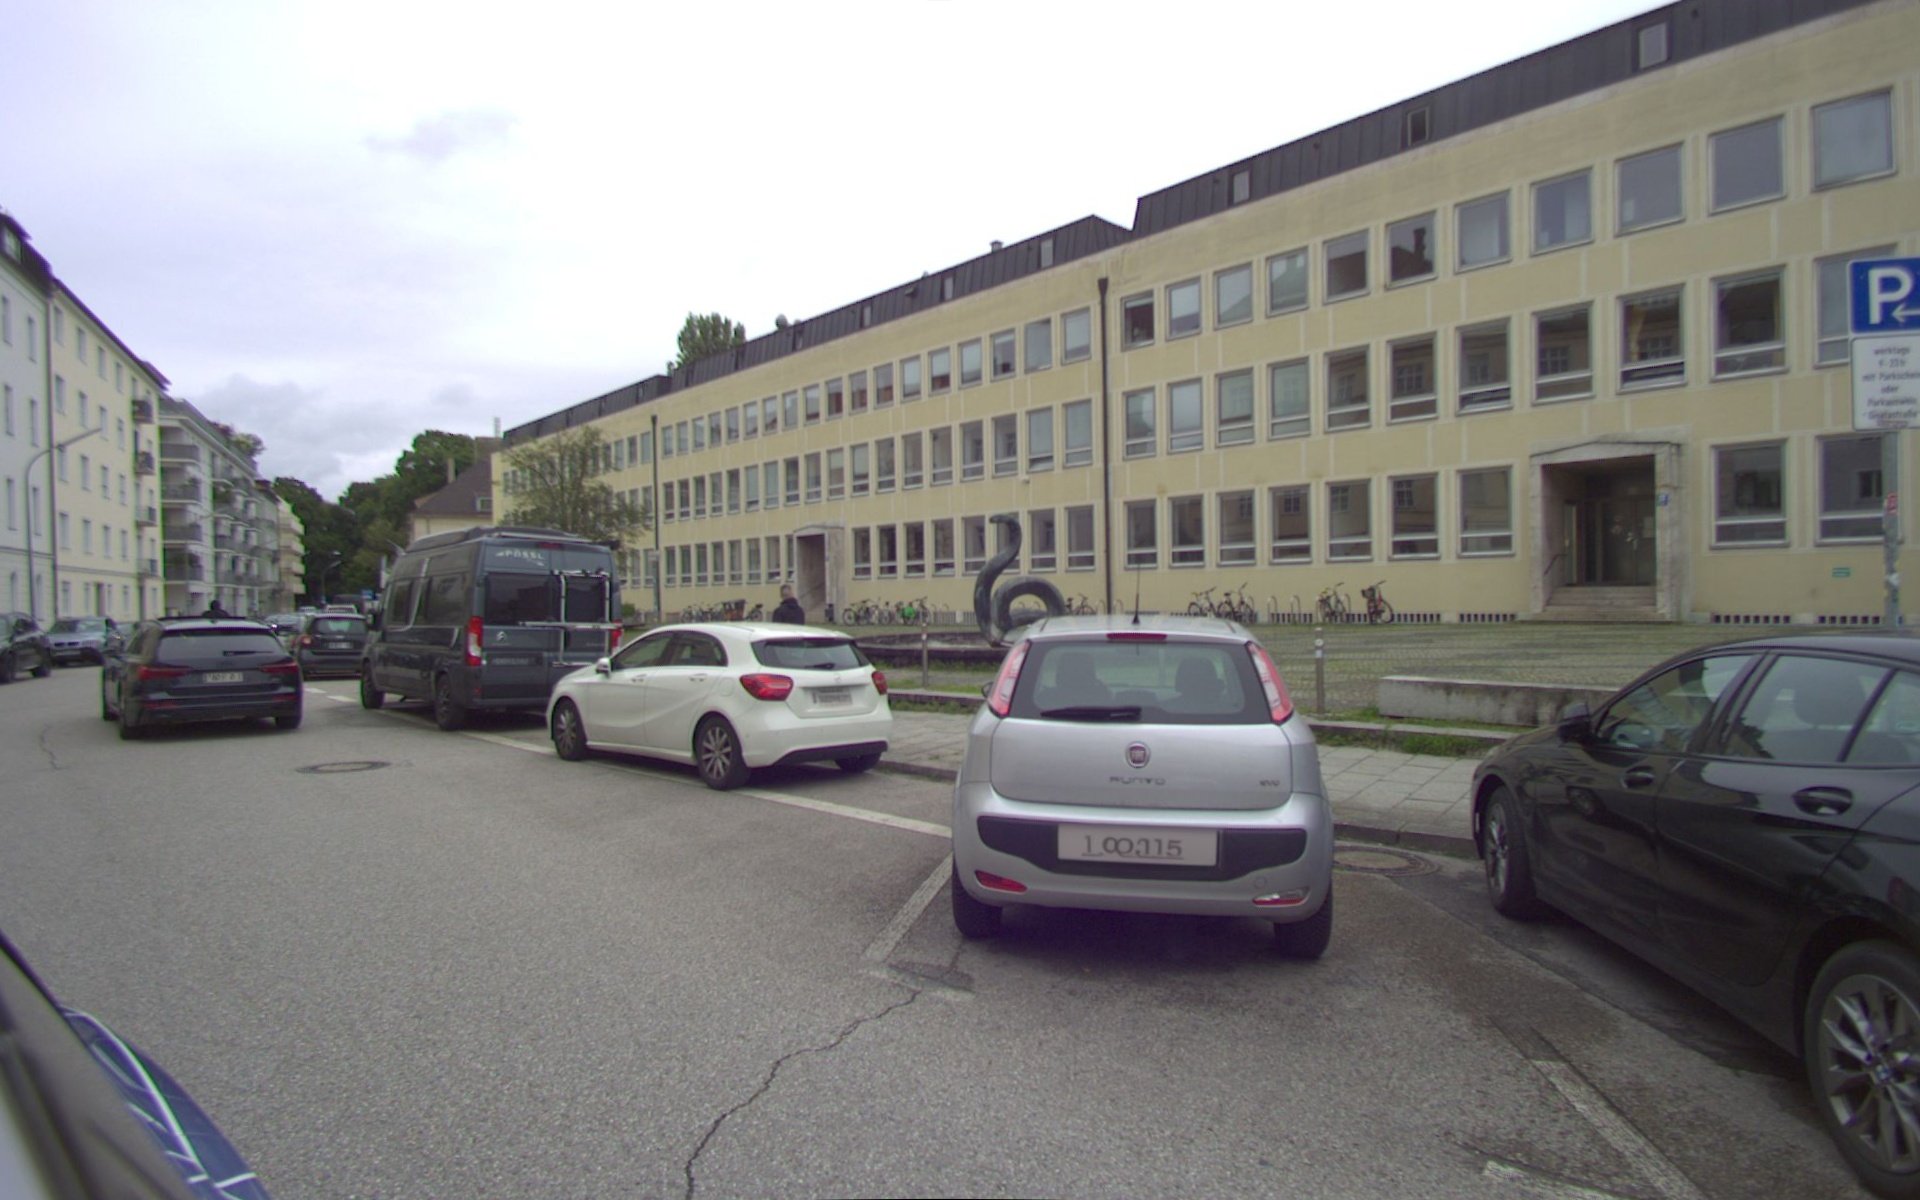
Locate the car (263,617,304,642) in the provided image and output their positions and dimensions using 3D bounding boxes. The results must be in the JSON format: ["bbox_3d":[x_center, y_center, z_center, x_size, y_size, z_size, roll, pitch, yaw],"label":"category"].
[{"bbox_3d":[-46.265,1.987,69.296,1.966,1.541,4.012,-3,0,-29],"label":"car"}]

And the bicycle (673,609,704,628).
[{"bbox_3d":[-14.665,0.993,54.718,0.503,0.952,1.587,-2,1,41],"label":"bicycle"}]

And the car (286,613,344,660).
[{"bbox_3d":[-22.289,1.214,35.031,1.608,1.506,4.287,0,-1,-32],"label":"car"}]

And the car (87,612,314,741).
[{"bbox_3d":[-10.347,0.888,13.635,1.897,1.423,4.708,1,-1,-44],"label":"car"}]

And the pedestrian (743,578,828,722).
[{"bbox_3d":[-2.371,0.659,13.783,0.711,1.880,0.836,-2,1,32],"label":"pedestrian"}]

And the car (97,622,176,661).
[{"bbox_3d":[-34.830,1.717,42.932,1.850,1.460,4.692,-3,1,-30],"label":"car"}]

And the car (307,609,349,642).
[{"bbox_3d":[-33.478,1.315,53.691,1.691,1.702,4.153,0,-1,-30],"label":"car"}]

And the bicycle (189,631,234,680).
[{"bbox_3d":[-17.231,1.245,23.270,0.579,1.078,1.938,1,-2,-44],"label":"bicycle"}]

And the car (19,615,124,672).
[{"bbox_3d":[-29.747,1.407,34.024,1.821,1.676,4.511,-3,1,-31],"label":"car"}]

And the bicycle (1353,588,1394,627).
[{"bbox_3d":[11.137,0.188,27.249,0.414,0.952,1.688,-2,2,43],"label":"bicycle"}]

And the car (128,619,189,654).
[{"bbox_3d":[-37.435,1.690,47.353,1.701,1.460,4.200,-3,1,-31],"label":"car"}]

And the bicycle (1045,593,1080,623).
[{"bbox_3d":[3.599,0.285,35.381,0.414,0.952,1.391,-2,1,43],"label":"bicycle"}]

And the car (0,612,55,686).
[{"bbox_3d":[-24.745,1.235,25.248,2.140,1.752,5.039,-3,1,-30],"label":"car"}]

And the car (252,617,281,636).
[{"bbox_3d":[-58.551,2.196,85.430,1.747,1.487,4.230,-2,0,-31],"label":"car"}]

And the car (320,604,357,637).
[{"bbox_3d":[-38.543,1.273,62.807,1.888,1.975,4.976,0,-1,-31],"label":"car"}]

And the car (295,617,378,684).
[{"bbox_3d":[-14.738,1.147,23.884,1.498,1.477,2.894,1,-1,-35],"label":"car"}]

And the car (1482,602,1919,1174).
[{"bbox_3d":[3.445,0.737,3.417,1.793,1.432,3.987,0,-1,9],"label":"car"}]

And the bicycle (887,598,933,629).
[{"bbox_3d":[-2.008,0.541,40.951,0.702,1.104,1.825,-2,2,43],"label":"bicycle"}]

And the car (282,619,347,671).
[{"bbox_3d":[-20.035,1.338,31.462,1.608,1.506,3.614,1,-1,-32],"label":"car"}]

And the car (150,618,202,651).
[{"bbox_3d":[-40.068,1.722,51.786,1.628,1.555,4.005,-3,1,-32],"label":"car"}]

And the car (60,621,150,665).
[{"bbox_3d":[-32.153,1.576,38.173,1.802,1.460,4.096,-3,1,-30],"label":"car"}]

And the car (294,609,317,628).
[{"bbox_3d":[-76.565,2.170,118.408,1.828,2.046,4.798,-3,0,-29],"label":"car"}]

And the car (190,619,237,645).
[{"bbox_3d":[-45.025,1.890,61.083,1.748,1.440,4.629,-3,1,-30],"label":"car"}]

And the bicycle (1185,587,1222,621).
[{"bbox_3d":[7.552,0.125,31.347,0.414,0.952,1.455,-2,1,43],"label":"bicycle"}]

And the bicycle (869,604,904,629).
[{"bbox_3d":[-3.034,0.671,41.996,1.388,0.952,0.415,-4,1,-34],"label":"bicycle"}]

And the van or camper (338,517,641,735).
[{"bbox_3d":[-7.198,0.360,15.037,2.270,2.601,6.091,1,-1,-44],"label":"van or camper"}]

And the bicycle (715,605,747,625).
[{"bbox_3d":[-11.596,0.753,51.217,0.502,0.952,1.590,-2,1,36],"label":"bicycle"}]

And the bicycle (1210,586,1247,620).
[{"bbox_3d":[8.191,0.098,30.808,0.414,0.952,1.455,-2,1,43],"label":"bicycle"}]

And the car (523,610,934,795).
[{"bbox_3d":[-2.461,0.861,10.168,4.214,1.462,1.972,-1,-2,42],"label":"car"}]

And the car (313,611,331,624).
[{"bbox_3d":[-84.229,2.318,133.648,1.742,1.629,4.276,-2,0,-29],"label":"car"}]

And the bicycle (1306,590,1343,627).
[{"bbox_3d":[10.208,0.232,28.331,0.414,0.952,1.455,-2,1,43],"label":"bicycle"}]

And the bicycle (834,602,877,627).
[{"bbox_3d":[-4.479,0.616,43.480,1.928,0.952,0.415,-4,1,-42],"label":"bicycle"}]

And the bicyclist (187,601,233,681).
[{"bbox_3d":[-17.281,0.941,23.325,0.735,1.785,0.816,2,-3,-43],"label":"bicyclist"}]

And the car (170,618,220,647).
[{"bbox_3d":[-42.235,1.776,55.946,1.701,1.440,4.306,-3,1,-31],"label":"car"}]

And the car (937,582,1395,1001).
[{"bbox_3d":[1.066,0.728,5.708,1.696,1.519,3.797,0,-1,10],"label":"car"}]

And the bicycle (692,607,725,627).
[{"bbox_3d":[-13.169,0.905,53.008,0.503,0.952,1.587,-2,1,41],"label":"bicycle"}]

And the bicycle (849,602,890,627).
[{"bbox_3d":[-3.852,0.604,43.030,1.836,0.952,0.415,-4,1,-42],"label":"bicycle"}]

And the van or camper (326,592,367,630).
[{"bbox_3d":[-44.852,0.789,74.100,2.260,2.671,5.579,0,-1,-28],"label":"van or camper"}]

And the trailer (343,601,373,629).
[{"bbox_3d":[-55.734,1.384,93.775,1.948,2.490,4.591,1,-1,-26],"label":"trailer"}]
